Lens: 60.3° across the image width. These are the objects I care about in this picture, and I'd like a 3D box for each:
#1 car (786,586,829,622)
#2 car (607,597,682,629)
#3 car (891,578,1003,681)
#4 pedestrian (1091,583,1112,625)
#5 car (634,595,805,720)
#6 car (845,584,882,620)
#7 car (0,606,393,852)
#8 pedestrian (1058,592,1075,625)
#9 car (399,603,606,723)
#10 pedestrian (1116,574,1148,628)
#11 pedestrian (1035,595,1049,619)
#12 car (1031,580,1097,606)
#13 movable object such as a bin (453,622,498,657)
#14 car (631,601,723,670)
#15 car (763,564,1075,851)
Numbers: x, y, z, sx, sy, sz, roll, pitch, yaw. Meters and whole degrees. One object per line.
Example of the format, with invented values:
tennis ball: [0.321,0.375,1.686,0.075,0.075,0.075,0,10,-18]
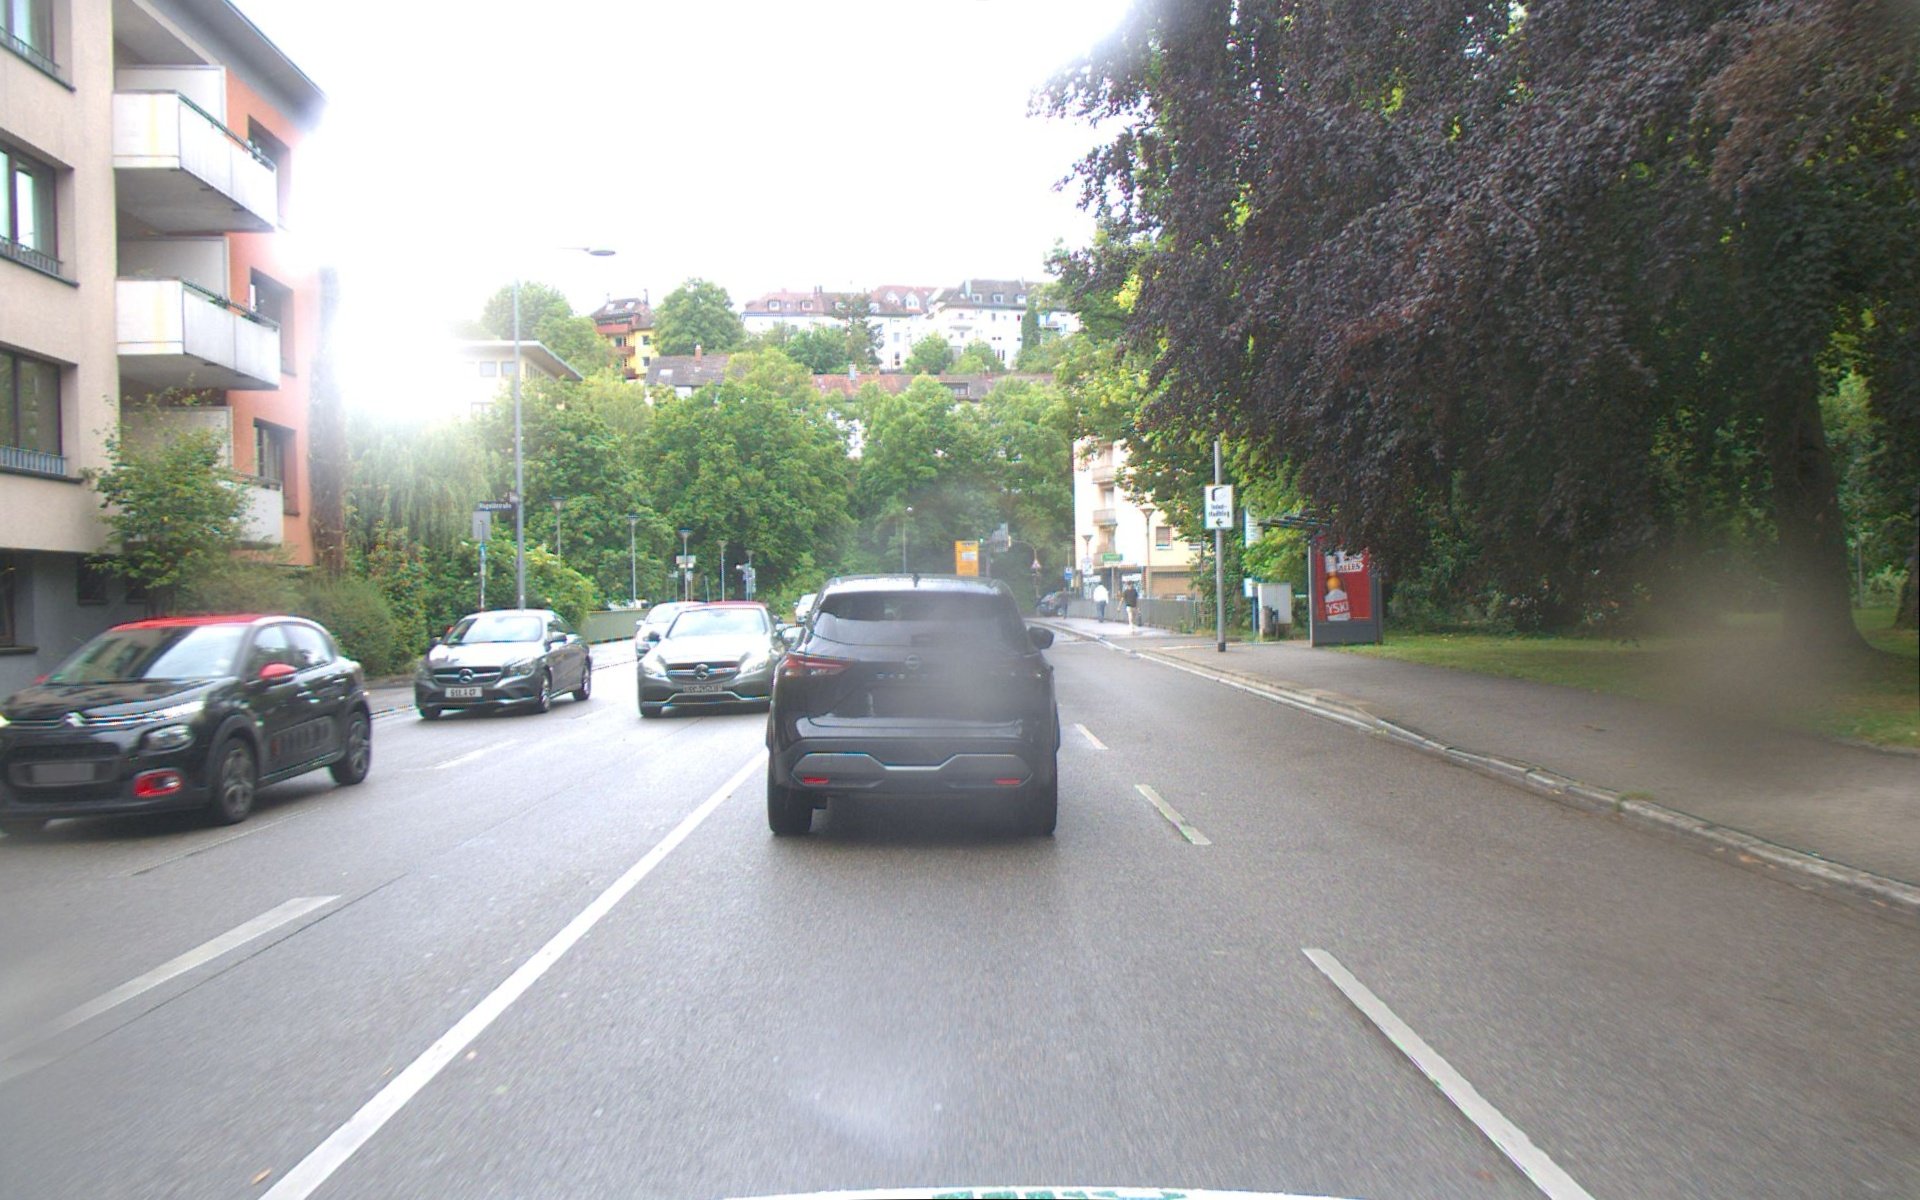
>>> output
car: [-7.206,0.165,78.518,1.777,1.606,4.229,-3,1,-3]
car: [-20.116,0.812,105.638,4.655,1.886,1.996,-1,2,-10]
car: [-0.239,0.450,28.125,1.774,1.631,3.999,0,0,-1]
pedestrian: [6.163,0.162,72.092,0.764,1.783,1.060,-2,0,-1]
car: [-3.215,0.714,22.899,1.757,1.440,4.334,-3,1,-1]
car: [-6.669,0.107,115.095,2.243,2.348,6.508,-3,1,-1]
car: [-5.952,0.874,13.008,1.652,1.517,3.889,-3,1,-1]
pedestrian: [5.642,0.461,87.963,0.745,1.706,0.781,-3,0,-1]
car: [-6.627,0.849,24.488,1.776,1.440,4.681,-3,1,-1]
pedestrian: [5.666,0.037,54.600,0.830,1.705,1.167,-3,0,-1]
pedestrian: [5.791,0.474,117.195,0.845,1.647,0.839,-2,0,-1]
car: [7.392,-0.500,117.909,4.315,1.678,1.867,-3,0,-27]
movable object such as a bin: [-13.216,1.076,45.121,0.946,0.892,0.832,-2,0,-1]
car: [-6.787,0.817,39.986,1.778,1.440,4.044,-3,1,-5]
car: [-0.262,0.601,11.459,1.774,1.631,3.999,0,0,-1]
